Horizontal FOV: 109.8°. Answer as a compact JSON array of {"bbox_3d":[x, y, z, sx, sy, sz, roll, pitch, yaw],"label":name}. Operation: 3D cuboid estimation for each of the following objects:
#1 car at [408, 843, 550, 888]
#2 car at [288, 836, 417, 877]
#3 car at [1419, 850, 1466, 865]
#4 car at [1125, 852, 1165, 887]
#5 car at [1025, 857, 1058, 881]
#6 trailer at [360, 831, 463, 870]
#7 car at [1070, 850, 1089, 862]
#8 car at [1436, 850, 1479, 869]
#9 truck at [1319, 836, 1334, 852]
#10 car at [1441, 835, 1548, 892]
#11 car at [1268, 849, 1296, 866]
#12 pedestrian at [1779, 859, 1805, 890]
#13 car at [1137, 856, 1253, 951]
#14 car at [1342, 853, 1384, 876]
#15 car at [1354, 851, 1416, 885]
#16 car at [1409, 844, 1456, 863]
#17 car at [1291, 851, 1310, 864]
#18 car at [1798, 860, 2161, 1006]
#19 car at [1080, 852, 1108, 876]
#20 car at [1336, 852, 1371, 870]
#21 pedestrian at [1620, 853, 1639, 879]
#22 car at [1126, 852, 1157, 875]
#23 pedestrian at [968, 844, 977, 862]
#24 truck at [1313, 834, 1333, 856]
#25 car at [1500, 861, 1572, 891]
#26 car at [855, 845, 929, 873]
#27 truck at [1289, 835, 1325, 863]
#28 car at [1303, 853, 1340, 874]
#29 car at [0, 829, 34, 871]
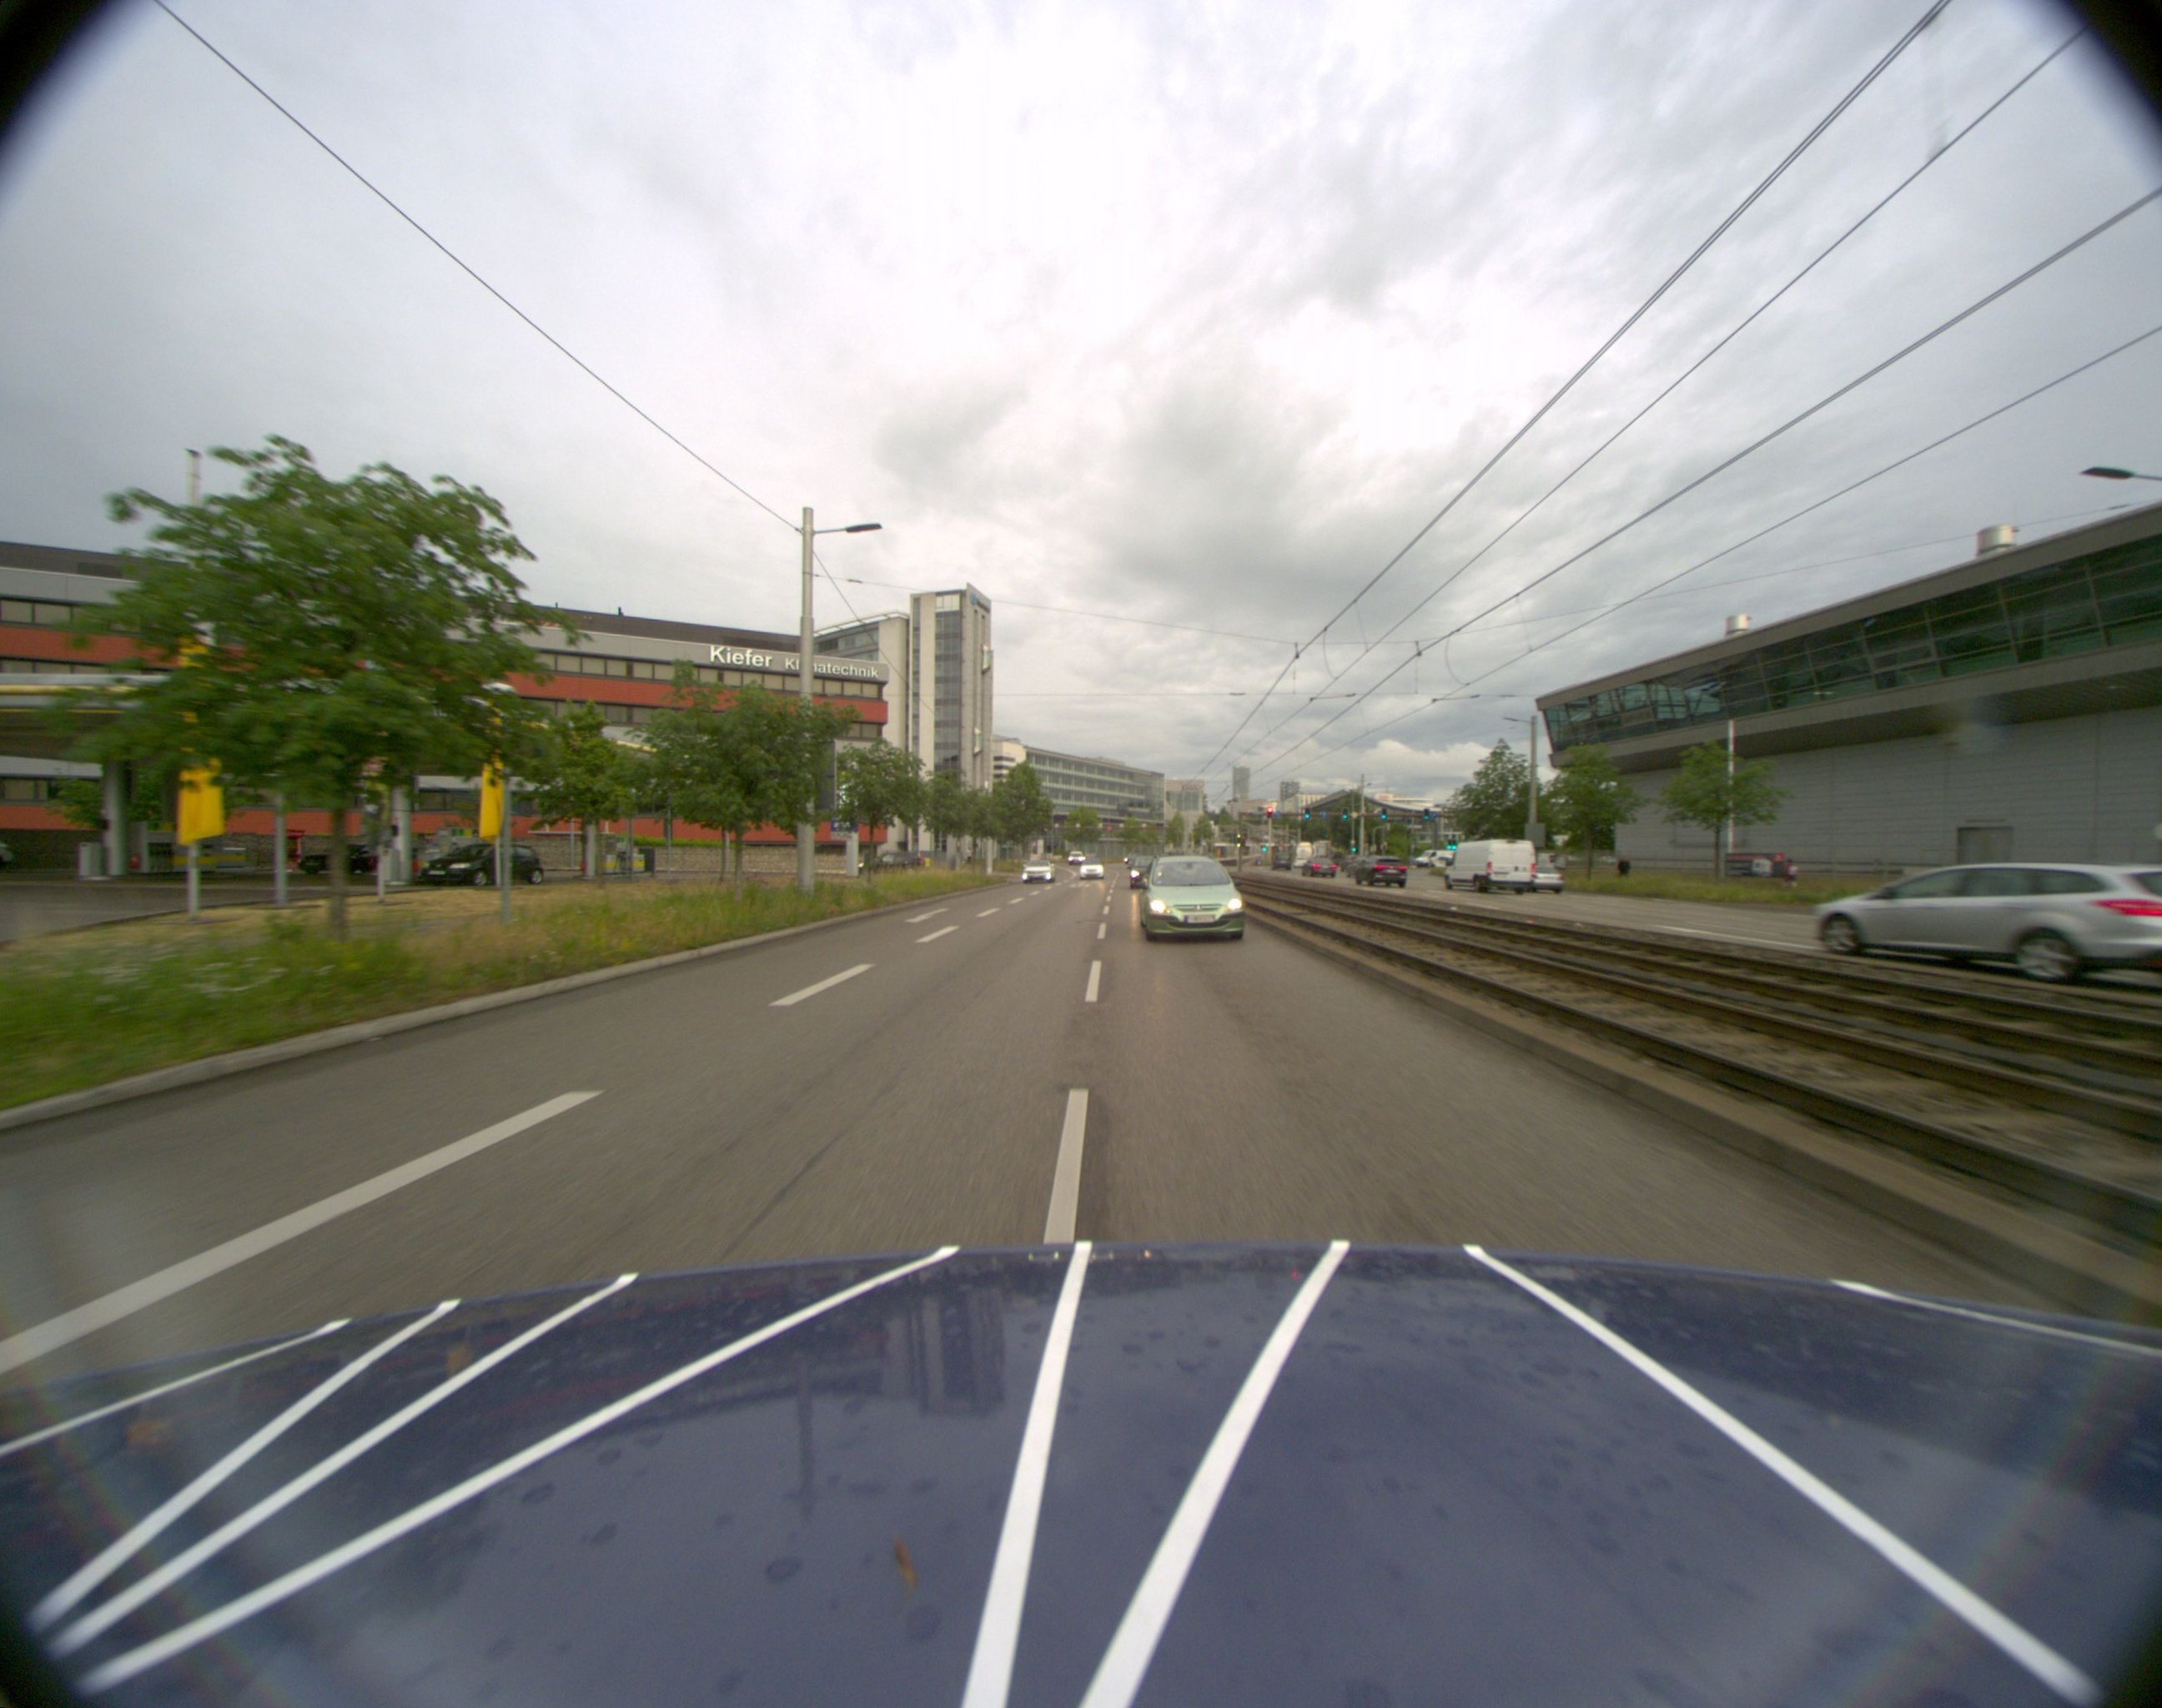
[{"bbox_3d":[-20.536,0.368,26.147,1.783,1.410,3.782,2,0,2],"label":"car"},{"bbox_3d":[-32.964,0.081,34.569,1.902,1.640,4.000,4,1,1],"label":"car"},{"bbox_3d":[43.197,0.422,90.893,4.662,1.824,1.999,1,0,-3],"label":"car"},{"bbox_3d":[3.049,0.708,36.556,1.761,1.535,3.715,-2,0,4],"label":"car"},{"bbox_3d":[-2.520,0.926,49.632,1.878,1.485,3.836,0,0,1],"label":"car"},{"bbox_3d":[-37.790,-0.168,42.993,4.005,2.134,1.835,1,0,-24],"label":"trailer"},{"bbox_3d":[-0.151,0.241,98.478,1.889,1.584,3.983,1,0,7],"label":"car"},{"bbox_3d":[39.338,0.575,79.399,3.875,1.815,1.812,1,0,-22],"label":"car"},{"bbox_3d":[64.150,-2.493,198.631,3.381,4.115,7.641,1,0,20],"label":"truck"},{"bbox_3d":[19.917,0.417,37.007,2.437,2.486,6.552,2,0,9],"label":"car"},{"bbox_3d":[21.603,0.389,81.837,1.998,1.721,4.679,1,0,4],"label":"car"},{"bbox_3d":[34.992,0.992,37.394,0.549,1.489,0.758,-2,1,5],"label":"pedestrian"},{"bbox_3d":[2.040,0.828,14.672,1.762,1.489,4.138,-2,0,3],"label":"car"},{"bbox_3d":[21.785,0.787,58.968,1.944,1.661,4.510,1,0,6],"label":"car"},{"bbox_3d":[16.255,0.718,40.875,1.912,1.647,4.362,2,0,6],"label":"car"},{"bbox_3d":[43.948,-0.014,95.052,5.064,2.318,1.998,1,0,-8],"label":"car"},{"bbox_3d":[26.789,0.421,92.906,1.798,1.437,3.926,1,0,9],"label":"car"},{"bbox_3d":[12.388,0.889,10.015,1.809,1.490,4.442,3,0,4],"label":"car"},{"bbox_3d":[0.954,0.674,54.061,1.818,1.584,3.837,-2,0,3],"label":"car"},{"bbox_3d":[26.640,0.644,74.433,1.998,1.673,4.475,1,0,4],"label":"car"},{"bbox_3d":[33.298,0.736,46.102,0.684,1.554,0.627,-2,1,3],"label":"pedestrian"},{"bbox_3d":[4.378,0.673,55.138,1.762,1.535,3.713,-2,0,-2],"label":"car"},{"bbox_3d":[-11.614,-0.107,81.235,0.683,1.889,0.677,-3,1,-23],"label":"pedestrian"},{"bbox_3d":[49.769,-1.822,156.066,3.261,4.503,7.104,1,0,23],"label":"truck"},{"bbox_3d":[23.628,1.110,39.605,1.751,1.392,4.002,1,0,8],"label":"car"},{"bbox_3d":[-12.421,0.345,49.961,4.365,1.637,1.790,-2,1,-27],"label":"car"},{"bbox_3d":[32.354,-0.697,109.078,4.085,3.734,10.864,1,0,12],"label":"truck"},{"bbox_3d":[18.613,0.706,59.028,1.951,1.475,4.998,1,0,8],"label":"car"},{"bbox_3d":[-43.856,-0.116,28.752,1.998,1.655,4.600,-2,0,1],"label":"car"}]
